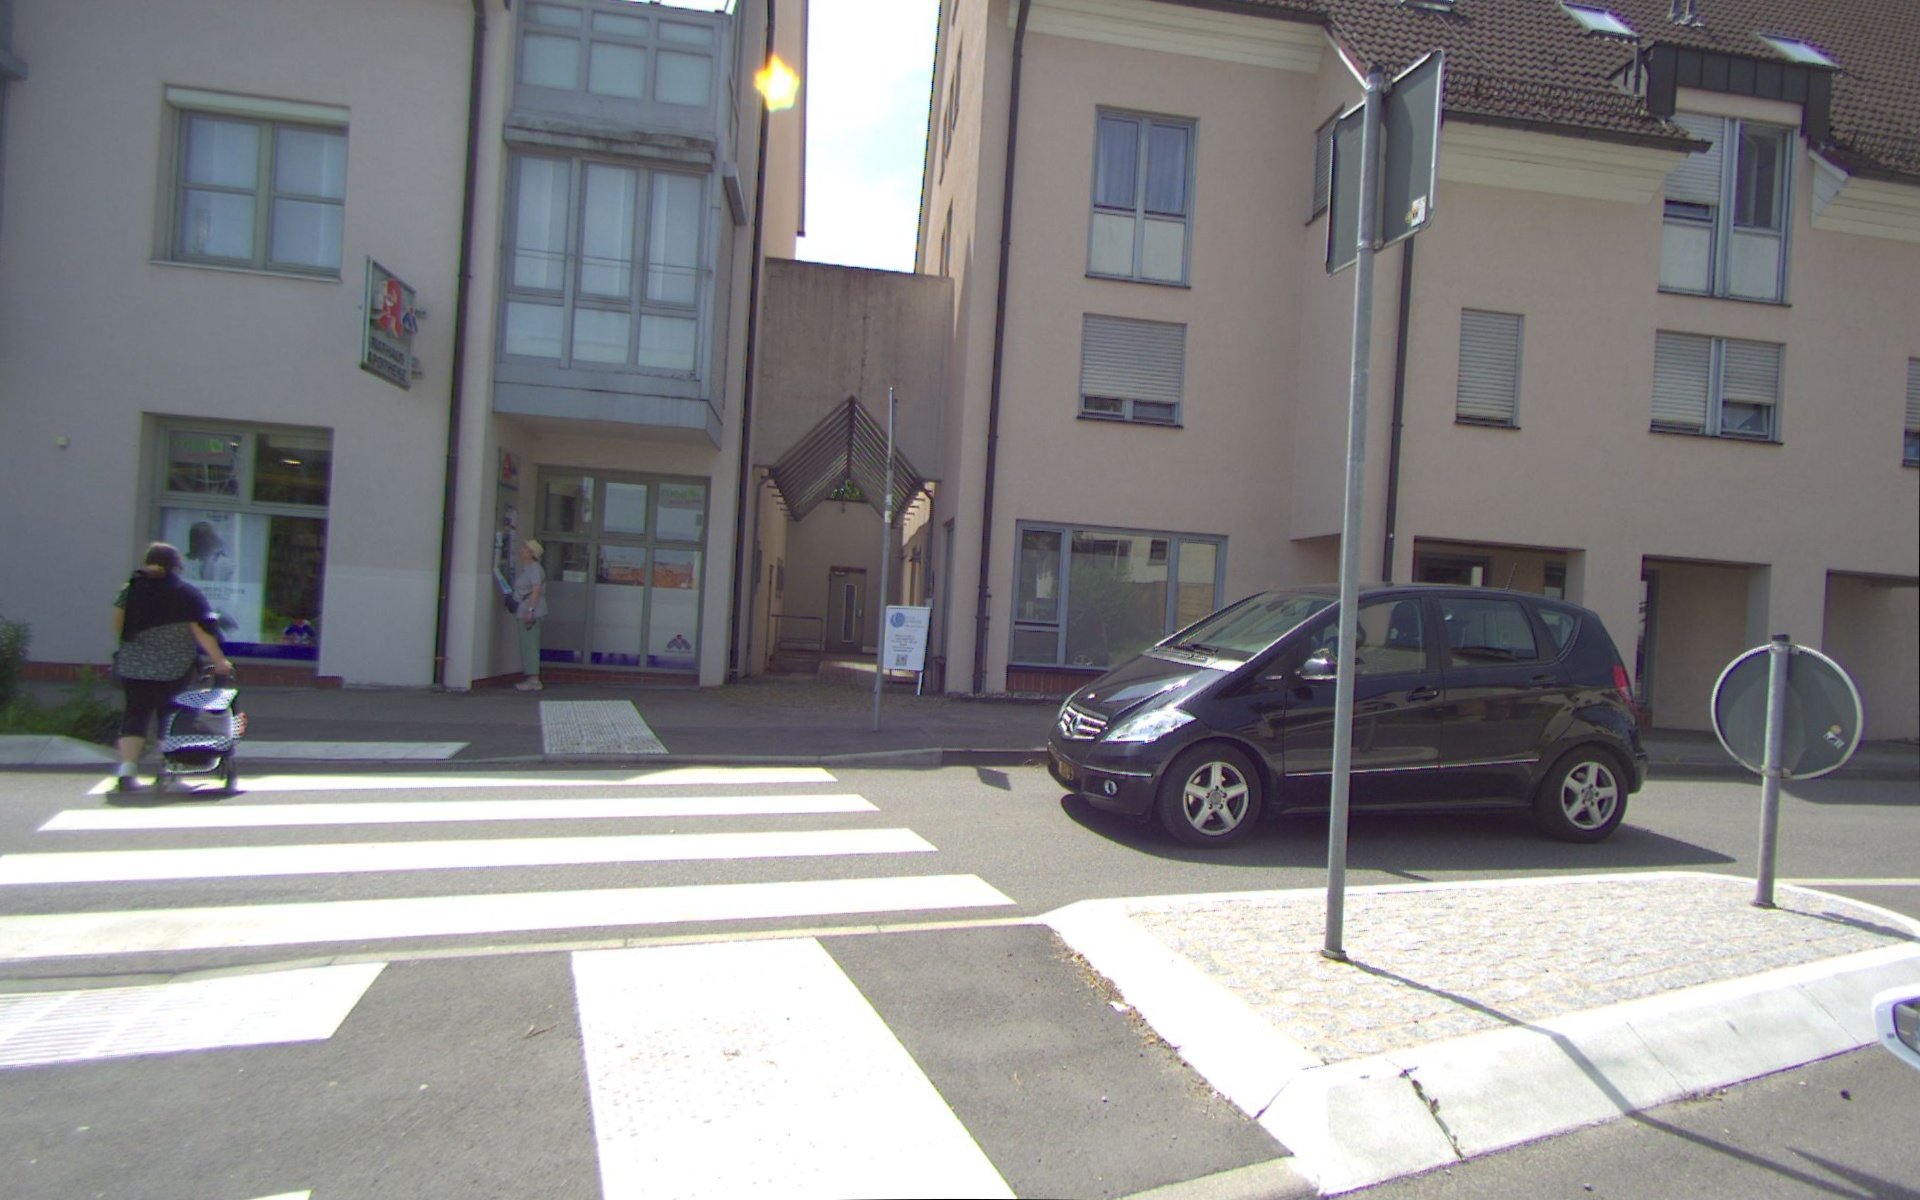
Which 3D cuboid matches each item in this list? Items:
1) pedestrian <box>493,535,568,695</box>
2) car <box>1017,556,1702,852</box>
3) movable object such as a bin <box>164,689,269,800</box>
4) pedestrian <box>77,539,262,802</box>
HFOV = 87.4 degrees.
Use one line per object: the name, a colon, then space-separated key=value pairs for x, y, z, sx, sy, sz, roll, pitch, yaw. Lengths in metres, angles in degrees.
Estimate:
pedestrian: x=-4.827 y=0.163 z=11.314 sx=0.568 sy=1.732 sz=0.577 roll=2 pitch=1 yaw=-3
car: x=2.495 y=0.630 z=6.684 sx=3.876 sy=1.605 sz=1.754 roll=2 pitch=0 yaw=-12
movable object such as a bin: x=-4.571 y=0.869 z=6.175 sx=0.456 sy=0.589 sz=0.463 roll=2 pitch=0 yaw=-43
pedestrian: x=-4.989 y=0.401 z=6.332 sx=0.797 sy=1.498 sz=0.944 roll=2 pitch=1 yaw=-44
